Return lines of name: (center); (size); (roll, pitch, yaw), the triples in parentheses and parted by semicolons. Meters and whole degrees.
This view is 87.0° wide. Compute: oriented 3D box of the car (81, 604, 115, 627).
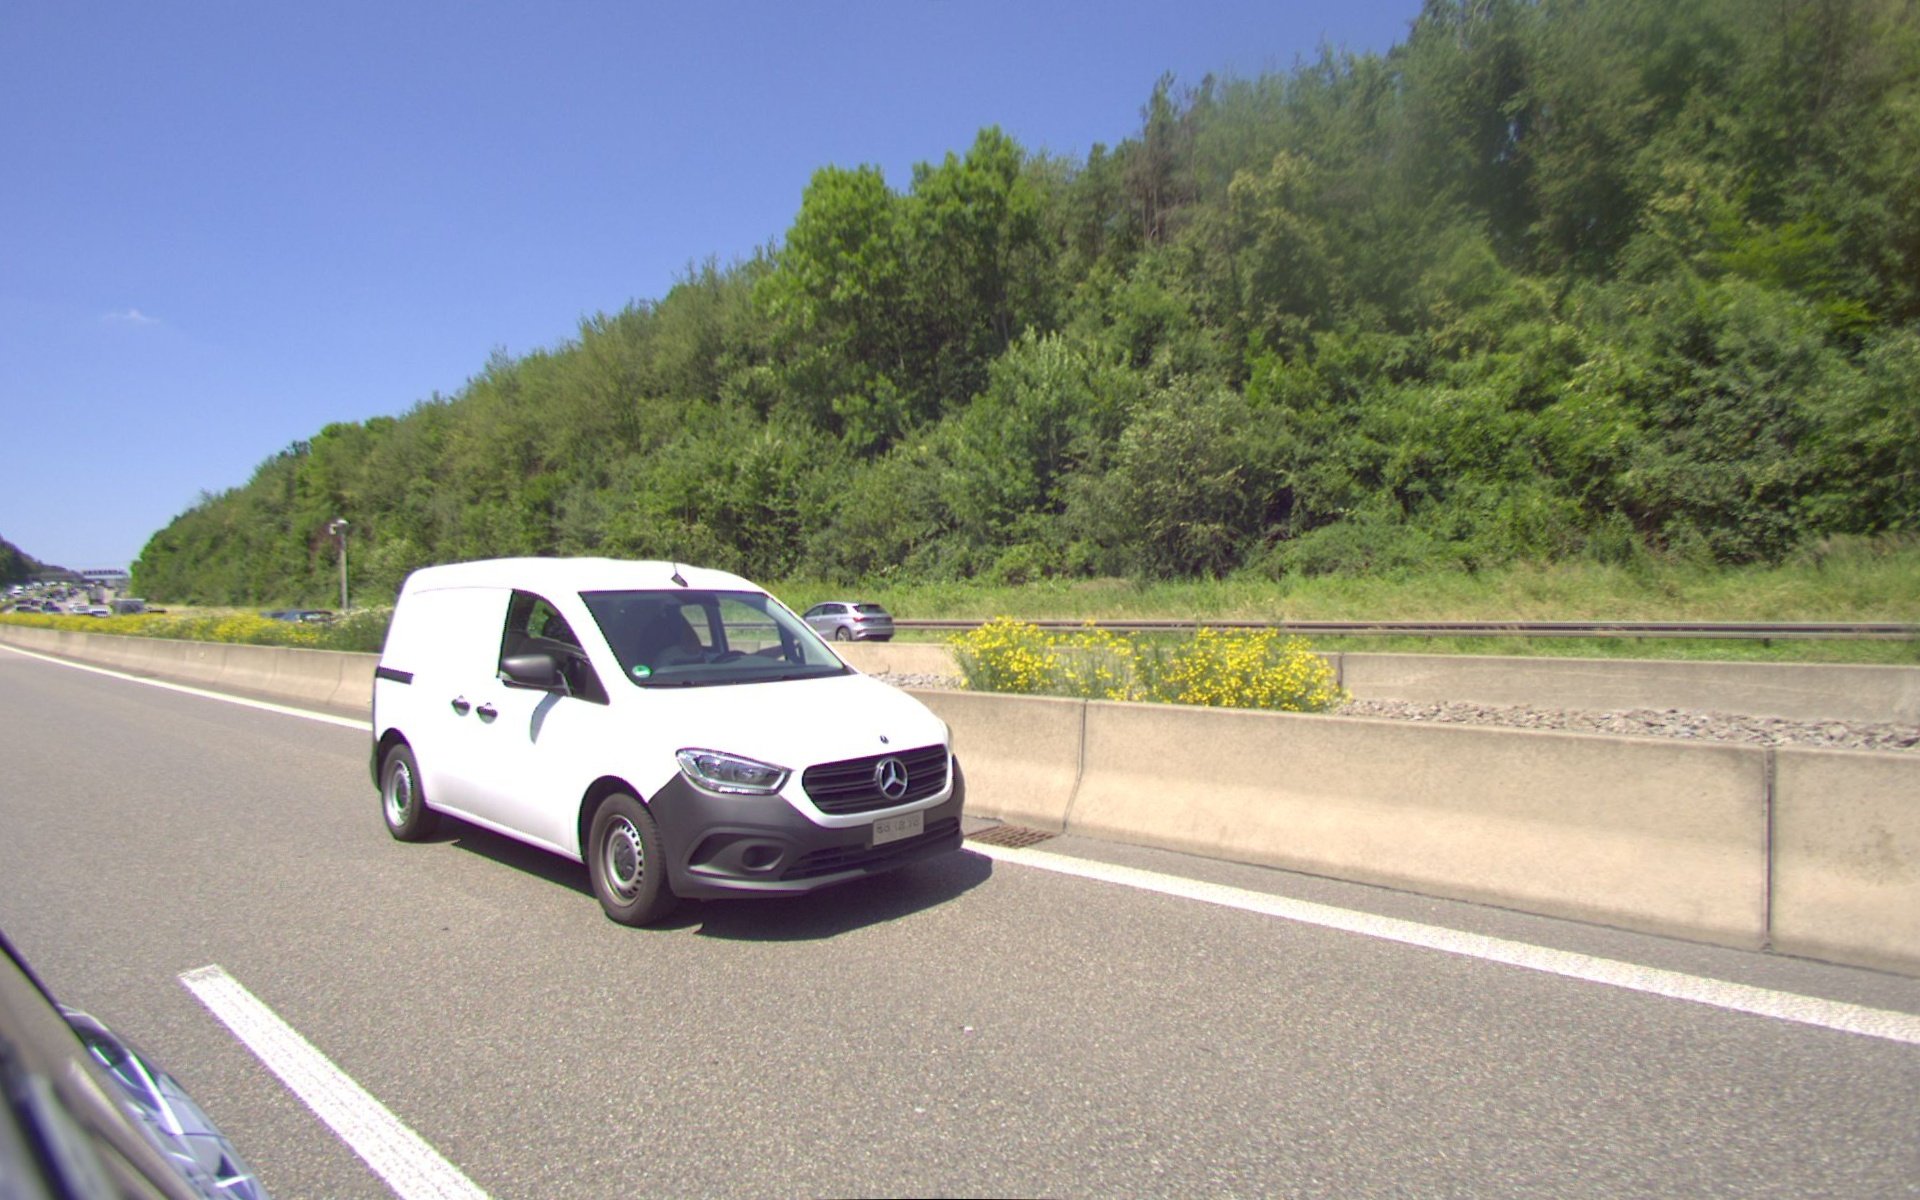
car: (-78.839, 1.419, 92.557); (4.569, 2.029, 1.971); (0, 0, 44)

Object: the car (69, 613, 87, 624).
car: (-133.615, 2.788, 153.295); (1.970, 1.629, 4.488); (0, -1, -43)

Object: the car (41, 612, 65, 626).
car: (-121.601, 2.516, 135.644); (4.401, 1.703, 1.972); (0, 0, 43)

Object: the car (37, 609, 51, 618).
car: (-171.135, 2.507, 189.056); (1.970, 1.497, 4.004); (0, 0, -43)

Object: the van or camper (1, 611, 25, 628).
van or camper: (-121.932, 2.470, 130.275); (4.586, 2.029, 1.863); (0, 0, 42)

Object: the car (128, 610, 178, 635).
car: (-54.463, 1.477, 68.244); (4.161, 1.602, 1.973); (0, 0, 42)

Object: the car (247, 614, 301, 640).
car: (-41.652, 1.592, 61.408); (3.999, 1.467, 1.769); (0, 0, 42)

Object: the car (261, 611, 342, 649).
car: (-29.272, 1.316, 44.958); (4.272, 1.599, 1.972); (-1, -1, 42)

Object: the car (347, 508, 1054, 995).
car: (-1.852, 0.594, 6.007); (4.672, 1.826, 1.746); (-1, -1, 41)

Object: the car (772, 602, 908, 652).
car: (-3.841, 0.827, 31.942); (4.189, 1.443, 1.973); (-1, -1, 41)

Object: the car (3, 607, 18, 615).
car: (-171.189, 1.986, 182.488); (1.970, 1.484, 4.879); (0, 0, -43)

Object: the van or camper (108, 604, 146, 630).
van or camper: (-86.515, 1.734, 105.065); (6.933, 2.579, 2.162); (0, 0, 43)

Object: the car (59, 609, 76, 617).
car: (-163.411, 2.383, 185.309); (4.173, 1.453, 1.971); (0, 0, 44)
